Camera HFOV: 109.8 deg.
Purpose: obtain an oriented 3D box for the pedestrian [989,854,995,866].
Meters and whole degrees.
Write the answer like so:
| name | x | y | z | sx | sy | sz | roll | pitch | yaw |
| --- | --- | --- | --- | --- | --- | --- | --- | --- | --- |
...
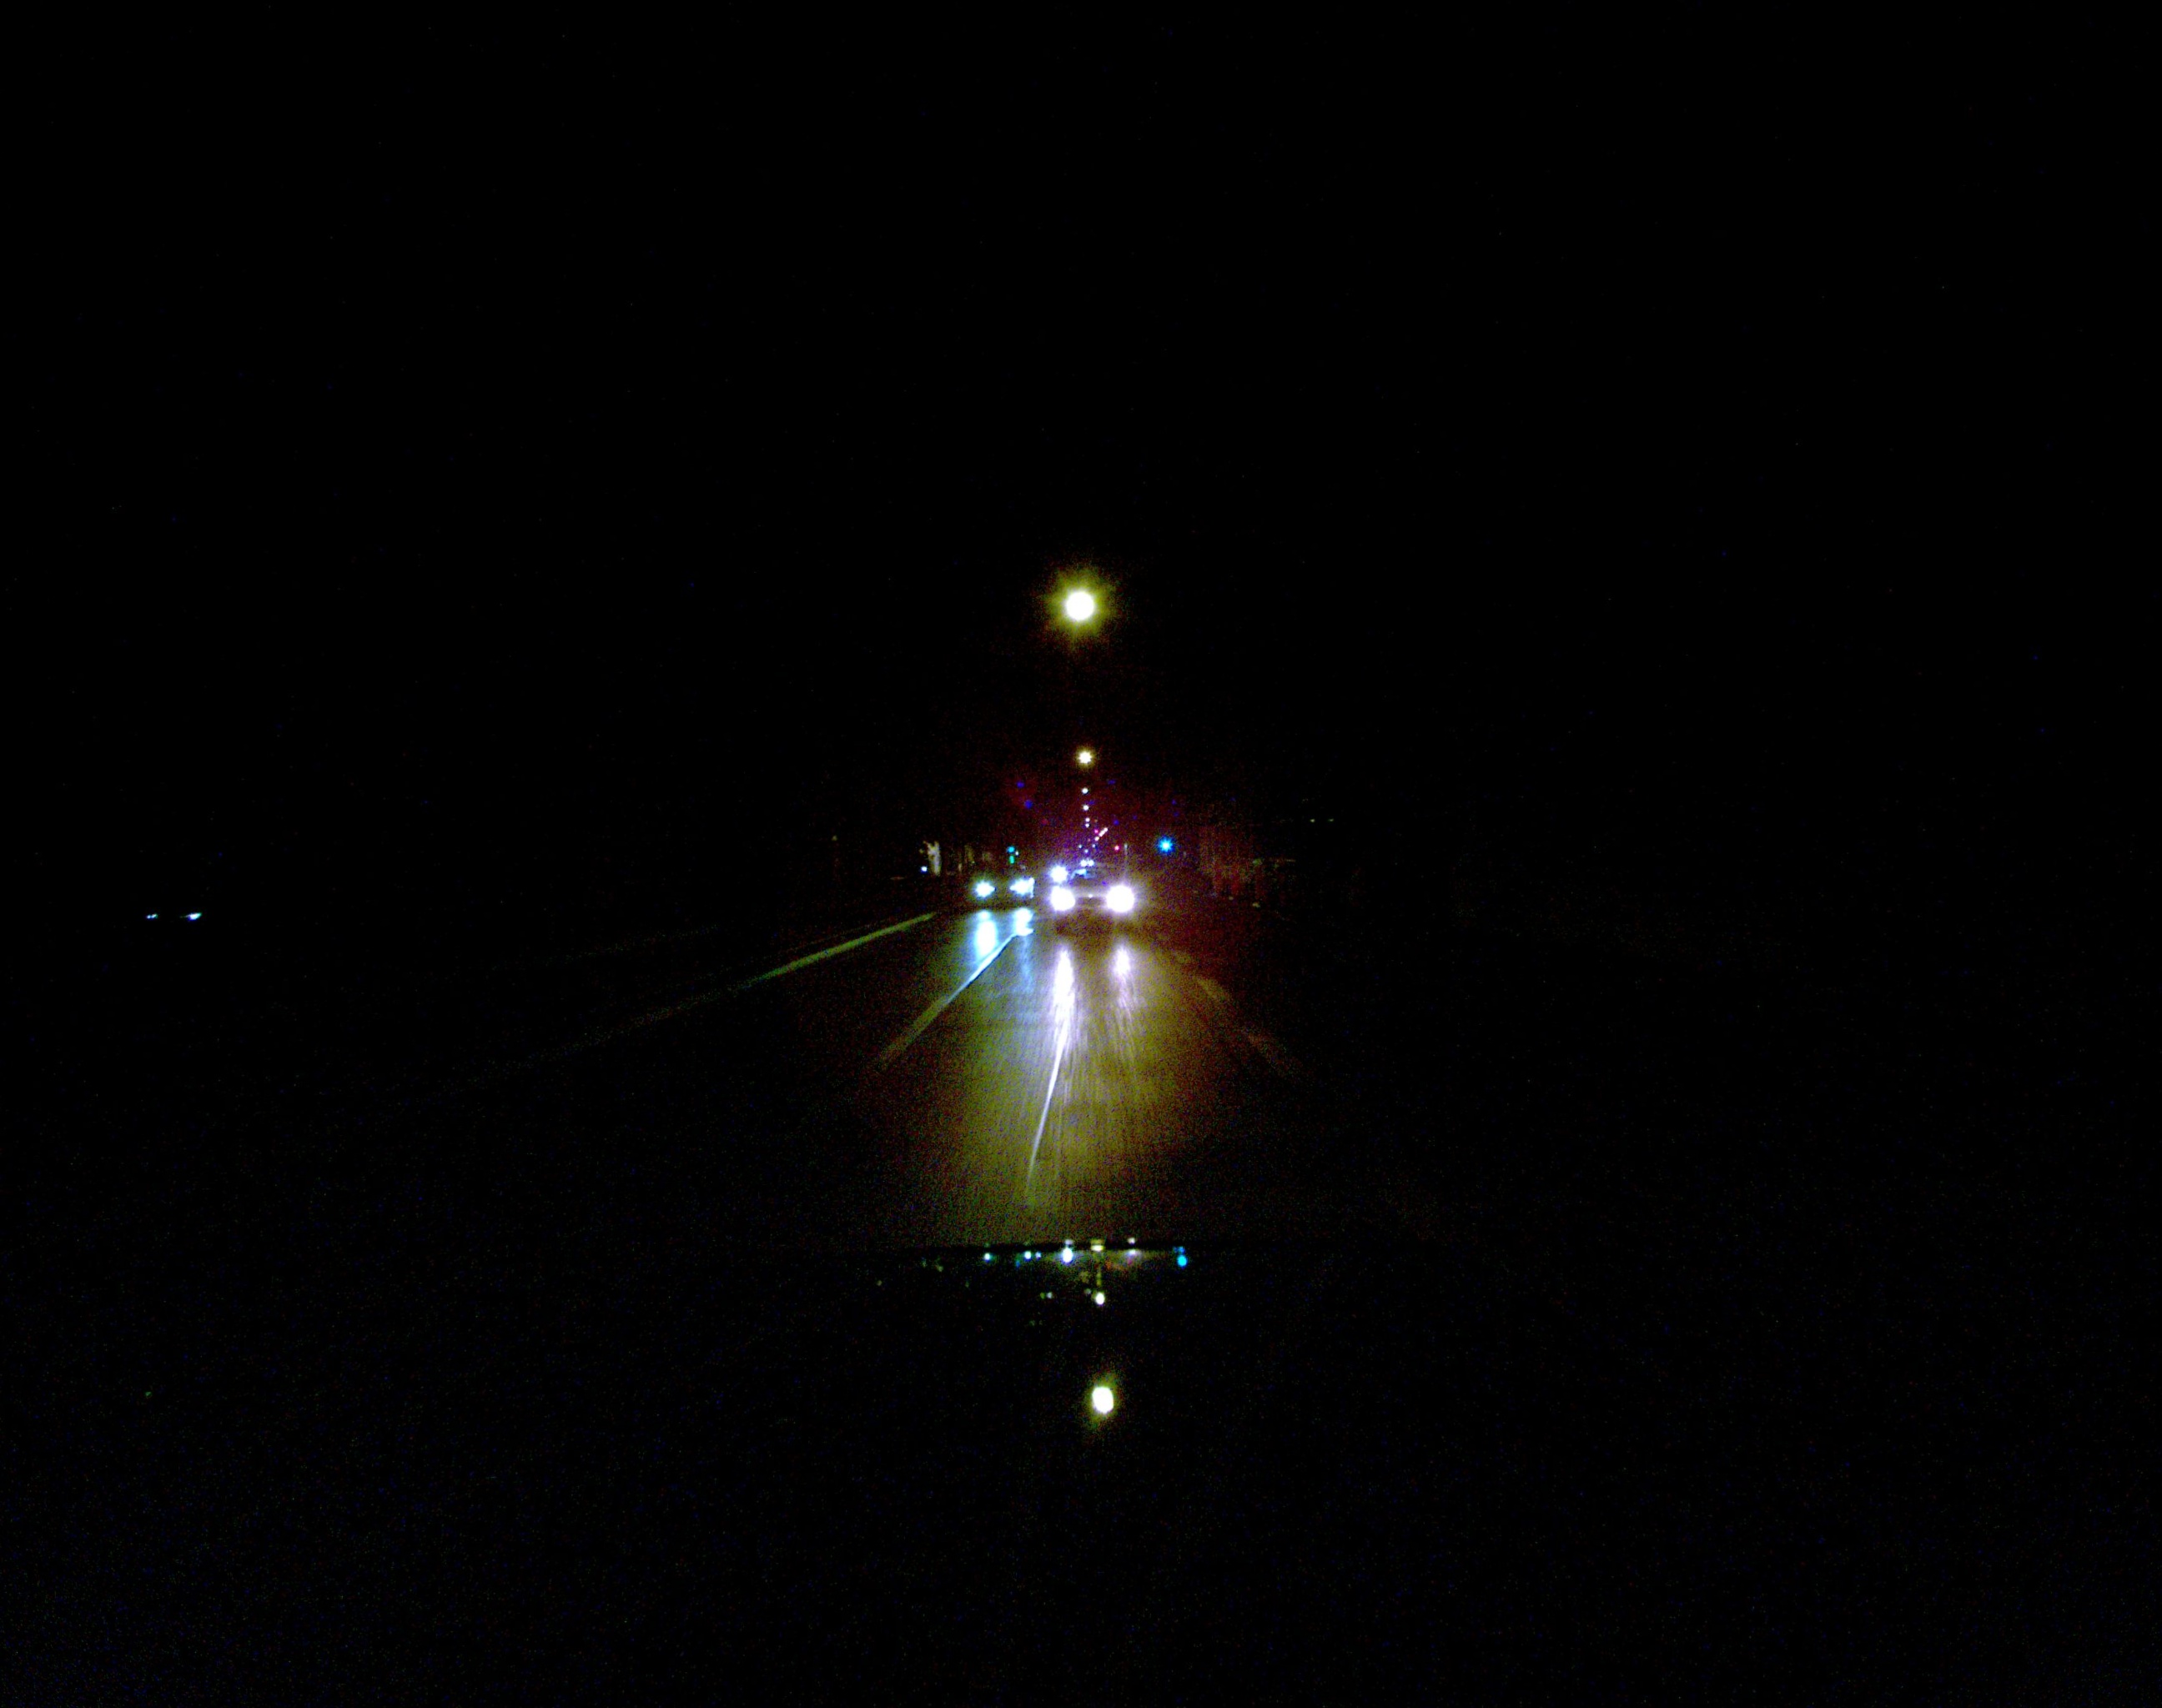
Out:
| name | x | y | z | sx | sy | sz | roll | pitch | yaw |
| --- | --- | --- | --- | --- | --- | --- | --- | --- | --- |
| pedestrian | -13.163 | 0.868 | 112.381 | 0.737 | 1.707 | 0.985 | -1 | 1 | 1 |

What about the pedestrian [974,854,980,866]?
| name | x | y | z | sx | sy | sz | roll | pitch | yaw |
| --- | --- | --- | --- | --- | --- | --- | --- | --- | --- |
| pedestrian | -15.385 | 0.907 | 112.436 | 0.675 | 1.806 | 0.906 | -1 | 1 | 1 |

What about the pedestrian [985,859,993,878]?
| name | x | y | z | sx | sy | sz | roll | pitch | yaw |
| --- | --- | --- | --- | --- | --- | --- | --- | --- | --- |
| pedestrian | -7.236 | 1.129 | 59.756 | 0.574 | 1.525 | 0.633 | -1 | 1 | 1 |

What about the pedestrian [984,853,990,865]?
| name | x | y | z | sx | sy | sz | roll | pitch | yaw |
| --- | --- | --- | --- | --- | --- | --- | --- | --- | --- |
| pedestrian | -13.890 | 0.778 | 112.190 | 0.631 | 1.778 | 0.837 | -1 | 1 | 1 |

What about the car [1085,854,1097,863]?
| name | x | y | z | sx | sy | sz | roll | pitch | yaw |
| --- | --- | --- | --- | --- | --- | --- | --- | --- | --- |
| car | 1.846 | 0.835 | 137.814 | 1.998 | 1.626 | 4.001 | -1 | 0 | 4 |

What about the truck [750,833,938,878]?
| name | x | y | z | sx | sy | sz | roll | pitch | yaw |
| --- | --- | --- | --- | --- | --- | --- | --- | --- | --- |
| truck | -22.388 | 0.110 | 72.292 | 16.820 | 3.961 | 3.131 | -1 | 1 | 0 |

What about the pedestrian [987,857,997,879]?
| name | x | y | z | sx | sy | sz | roll | pitch | yaw |
| --- | --- | --- | --- | --- | --- | --- | --- | --- | --- |
| pedestrian | -6.830 | 1.054 | 58.343 | 0.622 | 1.629 | 0.679 | -1 | 1 | 1 |

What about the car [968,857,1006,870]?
| name | x | y | z | sx | sy | sz | roll | pitch | yaw |
| --- | --- | --- | --- | --- | --- | --- | --- | --- | --- |
| car | -10.691 | 1.100 | 86.972 | 4.092 | 1.446 | 1.786 | -1 | 1 | 0 |

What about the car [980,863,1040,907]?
| name | x | y | z | sx | sy | sz | roll | pitch | yaw |
| --- | --- | --- | --- | --- | --- | --- | --- | --- | --- |
| car | -2.594 | 1.105 | 28.753 | 1.729 | 1.421 | 4.498 | -2 | 0 | 1 |

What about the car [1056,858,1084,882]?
| name | x | y | z | sx | sy | sz | roll | pitch | yaw |
| --- | --- | --- | --- | --- | --- | --- | --- | --- | --- |
| car | -0.710 | 1.015 | 49.696 | 1.729 | 1.455 | 3.999 | -1 | 1 | 0 |

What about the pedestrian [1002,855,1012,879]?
| name | x | y | z | sx | sy | sz | roll | pitch | yaw |
| --- | --- | --- | --- | --- | --- | --- | --- | --- | --- |
| pedestrian | -5.626 | 0.961 | 58.068 | 0.623 | 1.800 | 0.759 | -1 | 1 | 1 |

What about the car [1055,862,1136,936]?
| name | x | y | z | sx | sy | sz | roll | pitch | yaw |
| --- | --- | --- | --- | --- | --- | --- | --- | --- | --- |
| car | 0.380 | 0.973 | 17.869 | 1.634 | 1.430 | 3.840 | -2 | 0 | 2 |

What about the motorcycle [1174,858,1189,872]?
| name | x | y | z | sx | sy | sz | roll | pitch | yaw |
| --- | --- | --- | --- | --- | --- | --- | --- | --- | --- |
| motorcycle | 8.967 | 0.962 | 68.046 | 0.574 | 1.173 | 2.029 | -1 | 0 | -16 |
